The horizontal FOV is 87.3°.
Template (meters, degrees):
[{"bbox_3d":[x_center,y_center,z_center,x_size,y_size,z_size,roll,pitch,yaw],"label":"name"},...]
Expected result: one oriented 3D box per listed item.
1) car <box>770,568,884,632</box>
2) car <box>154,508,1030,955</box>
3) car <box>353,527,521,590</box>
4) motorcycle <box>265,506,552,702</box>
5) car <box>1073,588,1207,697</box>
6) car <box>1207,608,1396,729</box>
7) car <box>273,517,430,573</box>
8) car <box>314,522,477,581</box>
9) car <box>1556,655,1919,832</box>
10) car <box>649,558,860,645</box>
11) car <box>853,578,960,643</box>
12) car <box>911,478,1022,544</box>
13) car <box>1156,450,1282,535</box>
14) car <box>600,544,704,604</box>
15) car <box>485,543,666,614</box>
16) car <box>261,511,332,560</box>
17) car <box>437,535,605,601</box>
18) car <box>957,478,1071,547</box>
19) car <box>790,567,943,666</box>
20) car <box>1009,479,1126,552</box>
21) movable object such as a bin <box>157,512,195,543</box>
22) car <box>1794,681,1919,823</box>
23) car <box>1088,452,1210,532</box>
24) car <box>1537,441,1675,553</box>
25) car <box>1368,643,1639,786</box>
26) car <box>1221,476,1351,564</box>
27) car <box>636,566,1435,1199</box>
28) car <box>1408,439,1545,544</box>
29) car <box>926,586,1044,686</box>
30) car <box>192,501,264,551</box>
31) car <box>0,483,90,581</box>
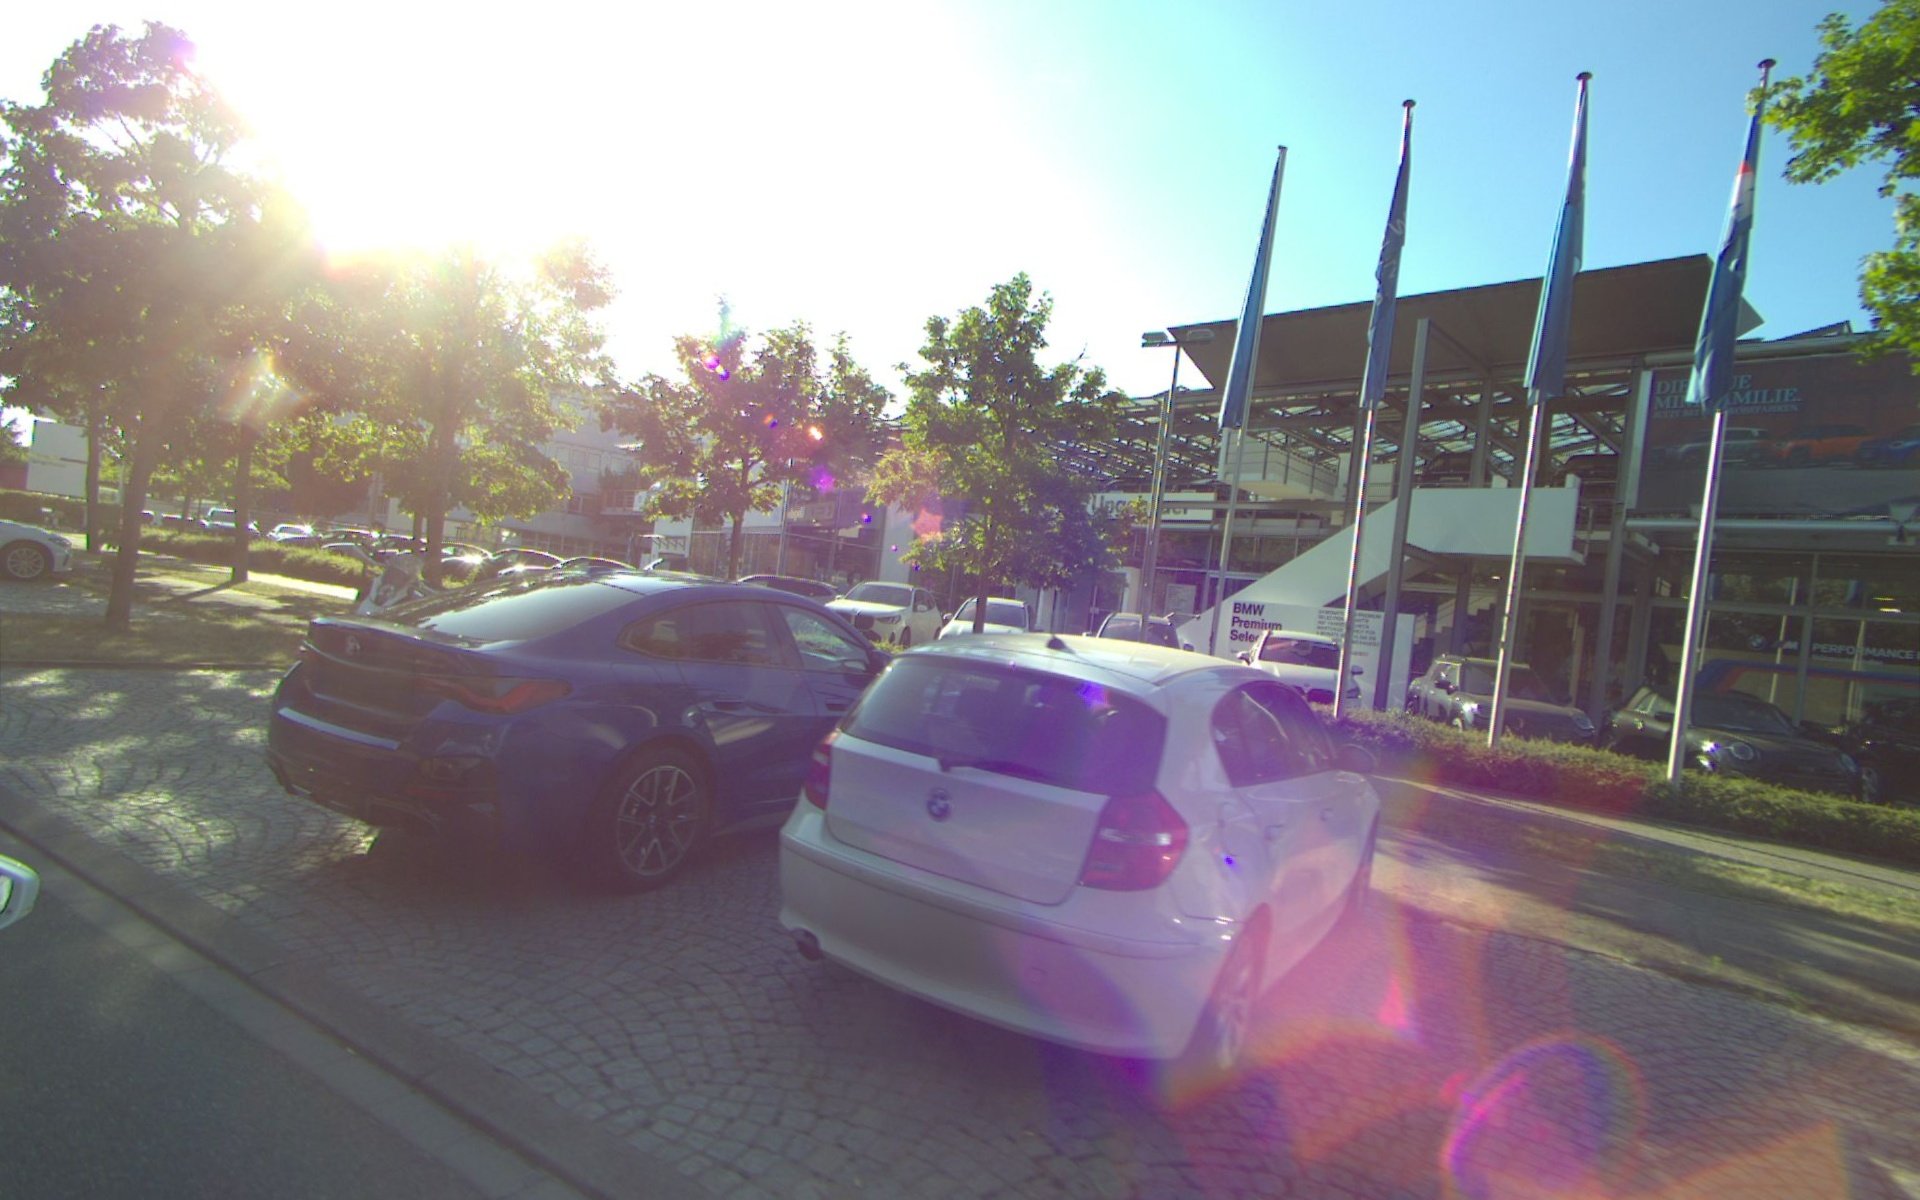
[{"bbox_3d":[-4.449,0.060,34.503,1.962,1.795,4.791,7,0,16],"label":"car"},{"bbox_3d":[-1.579,0.535,6.023,1.967,1.475,4.628,7,1,31],"label":"car"},{"bbox_3d":[-17.863,-1.400,34.654,4.718,1.482,1.993,7,0,-17],"label":"car"},{"bbox_3d":[-4.893,0.062,9.151,0.932,1.484,2.131,7,0,16],"label":"motorcycle"},{"bbox_3d":[3.237,0.705,18.976,1.962,1.594,4.604,6,1,5],"label":"car"},{"bbox_3d":[5.744,1.055,17.601,1.962,1.594,4.604,6,1,5],"label":"car"},{"bbox_3d":[-23.291,-2.085,38.724,4.717,1.482,1.992,7,0,-17],"label":"car"},{"bbox_3d":[-20.452,-1.735,36.666,4.718,1.482,2.039,7,0,-17],"label":"car"},{"bbox_3d":[10.926,1.878,14.623,1.962,1.688,4.604,6,1,5],"label":"car"},{"bbox_3d":[-5.365,0.050,26.514,5.107,1.591,1.995,7,0,-13],"label":"car"},{"bbox_3d":[-1.674,0.425,33.590,1.962,1.795,4.791,7,0,16],"label":"car"},{"bbox_3d":[0.292,-3.346,38.212,1.764,1.685,3.982,8,-3,45],"label":"car"},{"bbox_3d":[7.906,-3.214,30.533,1.764,1.685,3.981,7,-3,45],"label":"car"},{"bbox_3d":[-13.567,-1.136,44.429,4.120,2.038,1.992,7,0,-17],"label":"car"},{"bbox_3d":[-11.443,-0.624,30.295,4.712,1.482,1.995,7,0,-13],"label":"car"},{"bbox_3d":[-31.019,-3.035,46.952,2.024,1.850,4.506,7,0,-42],"label":"car"},{"bbox_3d":[-14.197,-1.011,32.844,4.718,1.482,1.993,7,0,-17],"label":"car"},{"bbox_3d":[1.988,-3.137,36.432,1.764,1.685,3.982,8,-3,45],"label":"car"},{"bbox_3d":[-1.903,0.325,22.280,2.365,1.712,4.729,6,1,5],"label":"car"},{"bbox_3d":[3.777,-2.905,34.860,1.764,1.685,3.982,8,-3,45],"label":"car"},{"bbox_3d":[-36.815,-3.411,47.242,1.023,1.283,1.116,7,0,39],"label":"movable object such as a bin"},{"bbox_3d":[13.498,2.166,12.884,1.962,1.688,4.605,6,1,6],"label":"car"},{"bbox_3d":[6.144,-3.428,32.438,1.764,1.685,3.981,7,-3,45],"label":"car"},{"bbox_3d":[15.052,-2.323,23.360,1.764,1.685,3.982,7,-3,45],"label":"car"},{"bbox_3d":[8.291,1.641,15.938,1.962,1.593,4.607,7,0,5],"label":"car"},{"bbox_3d":[9.330,-2.238,28.640,1.764,1.685,3.982,8,-3,45],"label":"car"},{"bbox_3d":[0.894,0.836,4.878,1.967,1.498,4.379,7,1,31],"label":"car"},{"bbox_3d":[12.852,-2.622,24.932,1.764,1.685,3.982,7,-3,45],"label":"car"},{"bbox_3d":[0.636,0.696,20.723,1.962,1.593,4.607,7,0,5],"label":"car"},{"bbox_3d":[-32.912,-3.334,45.163,2.024,1.850,4.917,7,0,-42],"label":"car"},{"bbox_3d":[-16.908,-1.285,15.630,1.967,1.498,4.698,7,1,31],"label":"car"}]
